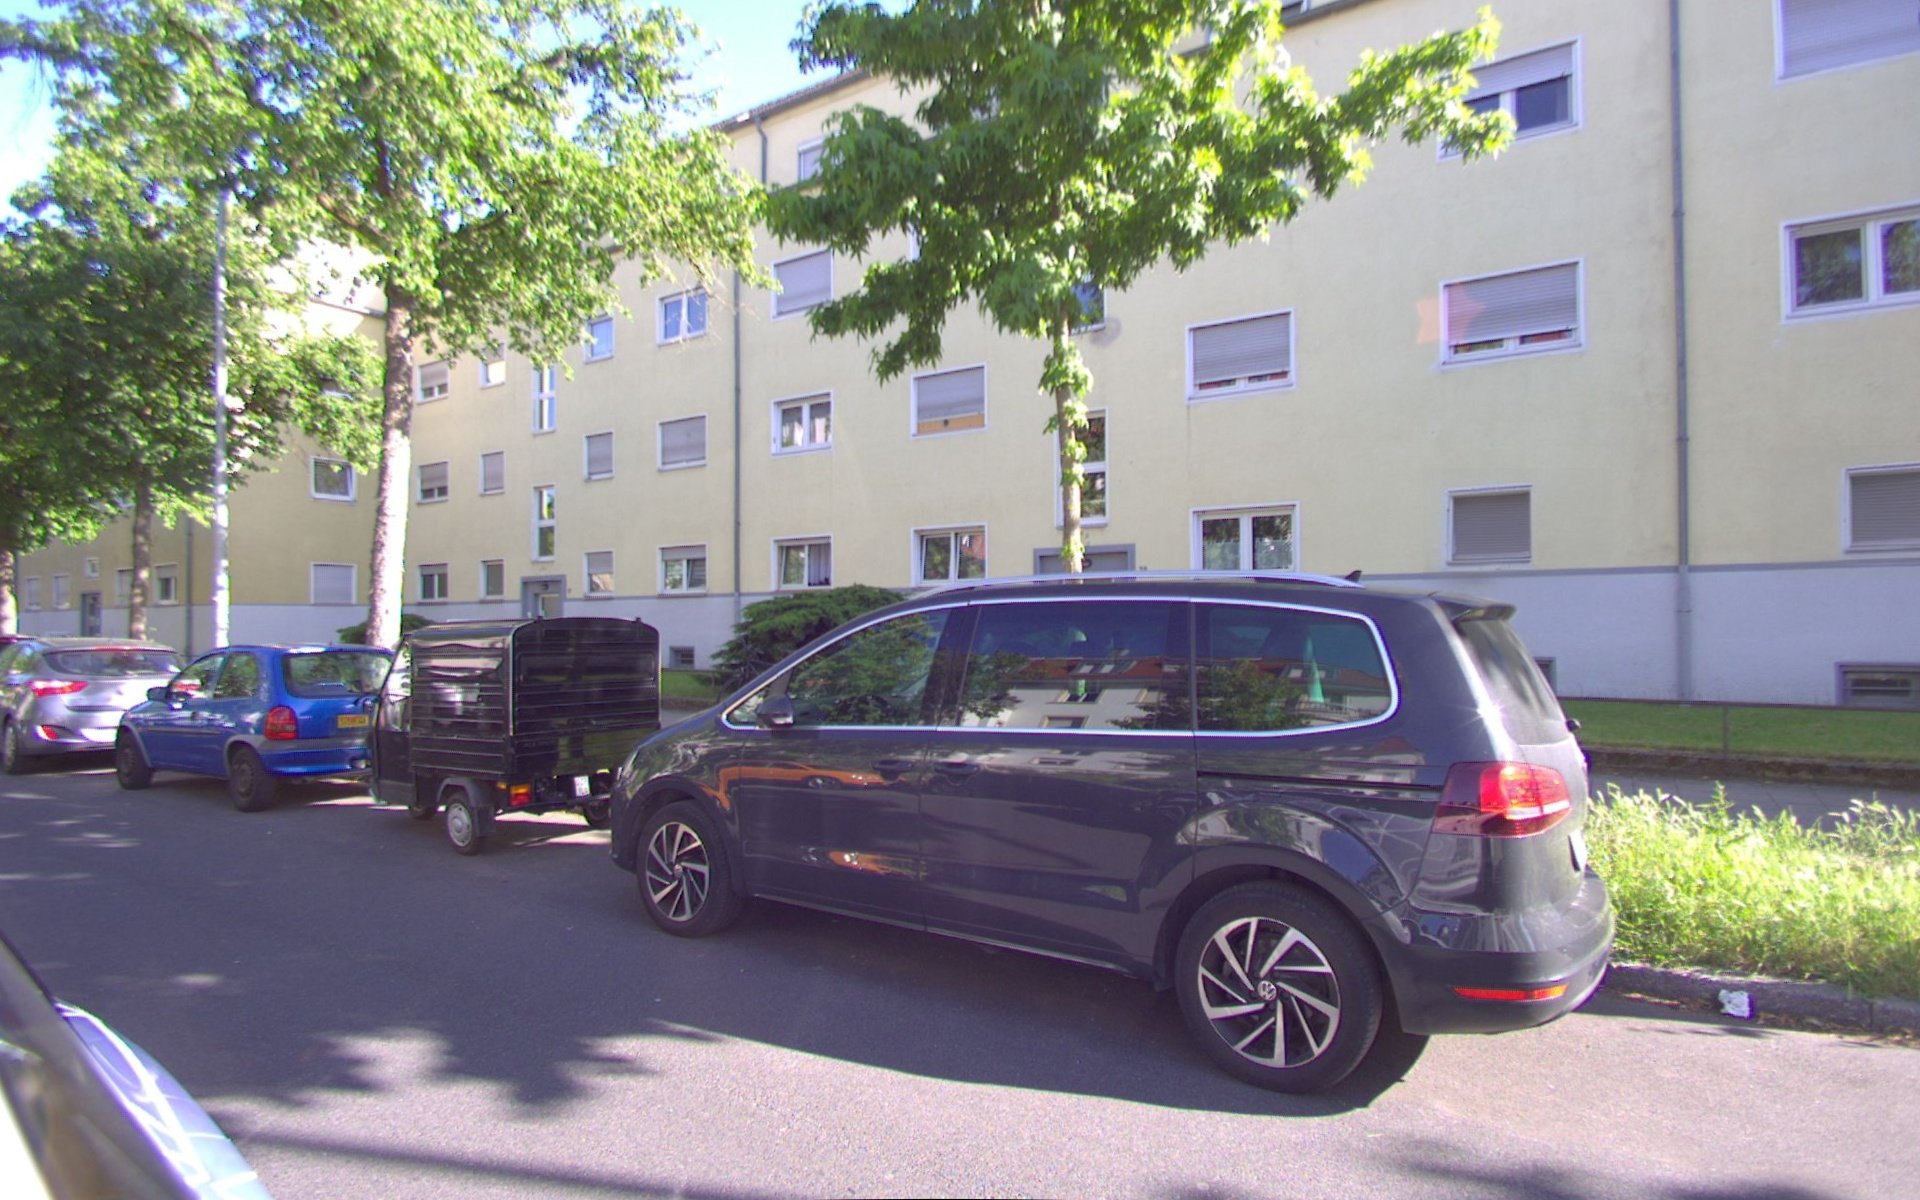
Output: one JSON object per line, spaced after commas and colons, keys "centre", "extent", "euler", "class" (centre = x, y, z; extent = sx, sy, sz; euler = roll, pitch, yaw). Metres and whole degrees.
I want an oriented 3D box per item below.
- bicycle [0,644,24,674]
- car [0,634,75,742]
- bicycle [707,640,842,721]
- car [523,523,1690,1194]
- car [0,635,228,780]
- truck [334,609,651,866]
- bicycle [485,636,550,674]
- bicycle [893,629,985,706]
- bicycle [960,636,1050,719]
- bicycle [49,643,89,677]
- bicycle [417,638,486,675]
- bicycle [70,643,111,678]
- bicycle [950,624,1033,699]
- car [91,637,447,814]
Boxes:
{"centre": [-32.849, 2.014, 34.901], "extent": [1.541, 1.008, 0.507], "euler": [-2, -2, 34], "class": "bicycle"}
{"centre": [-15.392, 1.302, 15.597], "extent": [4.258, 1.527, 1.606], "euler": [-2, -4, 35], "class": "car"}
{"centre": [-2.619, 1.122, 14.327], "extent": [1.825, 1.089, 0.485], "euler": [-1, 1, 10], "class": "bicycle"}
{"centre": [0.278, 0.764, 4.745], "extent": [4.962, 1.693, 1.834], "euler": [-2, -5, 34], "class": "car"}
{"centre": [-10.865, 1.182, 12.292], "extent": [4.678, 1.455, 1.776], "euler": [-2, -4, 36], "class": "car"}
{"centre": [-3.478, 0.890, 7.435], "extent": [2.427, 1.589, 1.074], "euler": [-2, -2, 36], "class": "truck"}
{"centre": [-11.386, 1.404, 26.078], "extent": [0.478, 0.938, 1.623], "euler": [-1, -2, 25], "class": "bicycle"}
{"centre": [-0.313, 1.061, 16.410], "extent": [0.486, 1.089, 1.823], "euler": [0, 1, 36], "class": "bicycle"}
{"centre": [0.676, 1.071, 14.477], "extent": [0.485, 1.089, 1.826], "euler": [-1, -2, 30], "class": "bicycle"}
{"centre": [-28.066, 1.885, 31.869], "extent": [1.744, 1.034, 0.535], "euler": [-2, -2, 36], "class": "bicycle"}
{"centre": [-13.413, 1.472, 26.712], "extent": [0.479, 0.938, 1.620], "euler": [-2, -2, 31], "class": "bicycle"}
{"centre": [-26.467, 1.828, 30.793], "extent": [1.744, 1.034, 0.531], "euler": [-2, -2, 36], "class": "bicycle"}
{"centre": [0.577, 1.034, 17.548], "extent": [0.486, 1.154, 1.823], "euler": [0, 1, 36], "class": "bicycle"}
{"centre": [-6.737, 1.069, 9.779], "extent": [3.715, 1.406, 1.509], "euler": [-2, -2, 33], "class": "car"}
